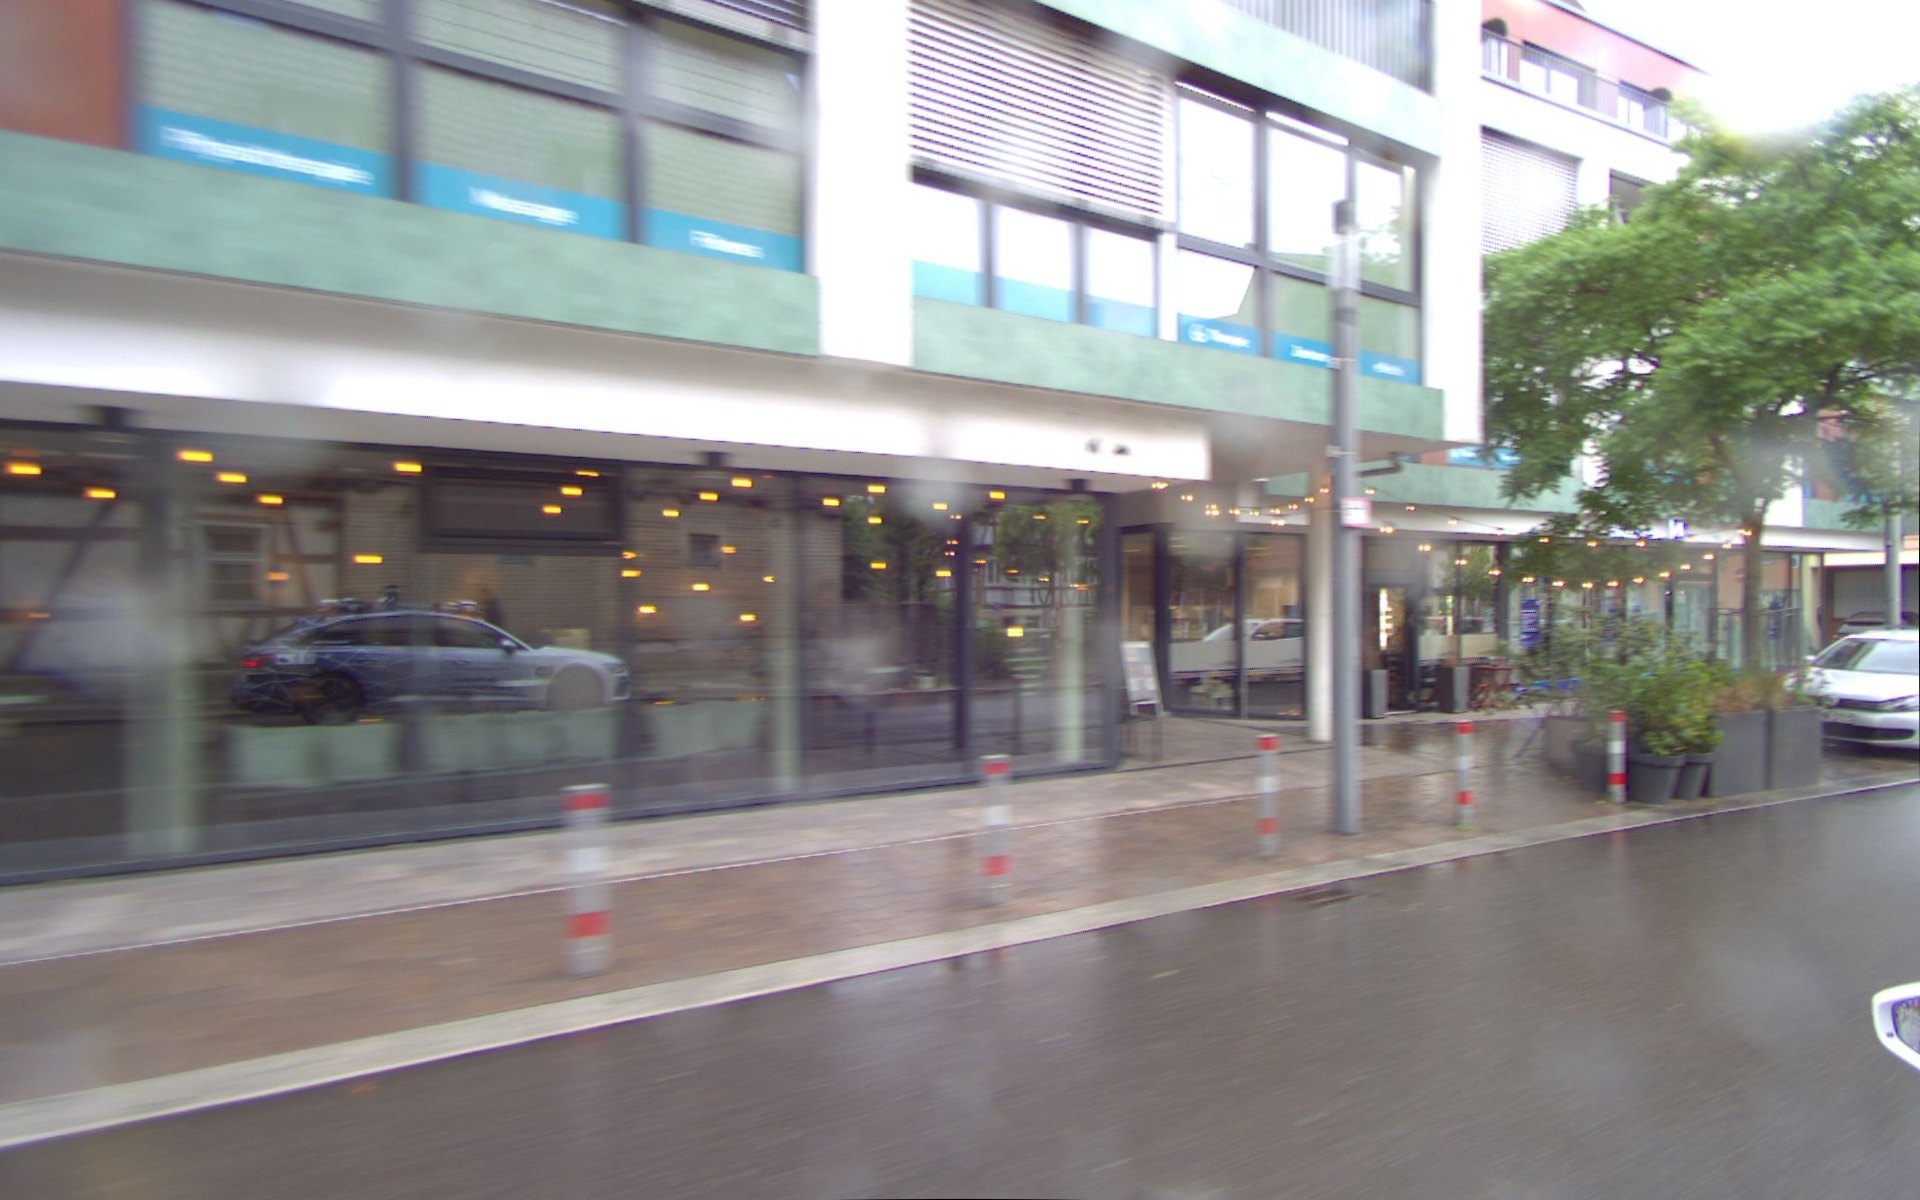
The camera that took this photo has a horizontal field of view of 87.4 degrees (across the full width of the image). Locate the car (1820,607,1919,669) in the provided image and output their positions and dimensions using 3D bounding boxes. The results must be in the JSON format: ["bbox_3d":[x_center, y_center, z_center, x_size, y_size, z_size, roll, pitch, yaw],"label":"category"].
[{"bbox_3d":[29.449,1.147,32.124,3.953,1.640,1.803,-4,2,-31],"label":"car"}]

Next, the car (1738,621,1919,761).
[{"bbox_3d":[11.979,1.038,12.674,4.398,1.518,1.780,1,-1,-28],"label":"car"}]
